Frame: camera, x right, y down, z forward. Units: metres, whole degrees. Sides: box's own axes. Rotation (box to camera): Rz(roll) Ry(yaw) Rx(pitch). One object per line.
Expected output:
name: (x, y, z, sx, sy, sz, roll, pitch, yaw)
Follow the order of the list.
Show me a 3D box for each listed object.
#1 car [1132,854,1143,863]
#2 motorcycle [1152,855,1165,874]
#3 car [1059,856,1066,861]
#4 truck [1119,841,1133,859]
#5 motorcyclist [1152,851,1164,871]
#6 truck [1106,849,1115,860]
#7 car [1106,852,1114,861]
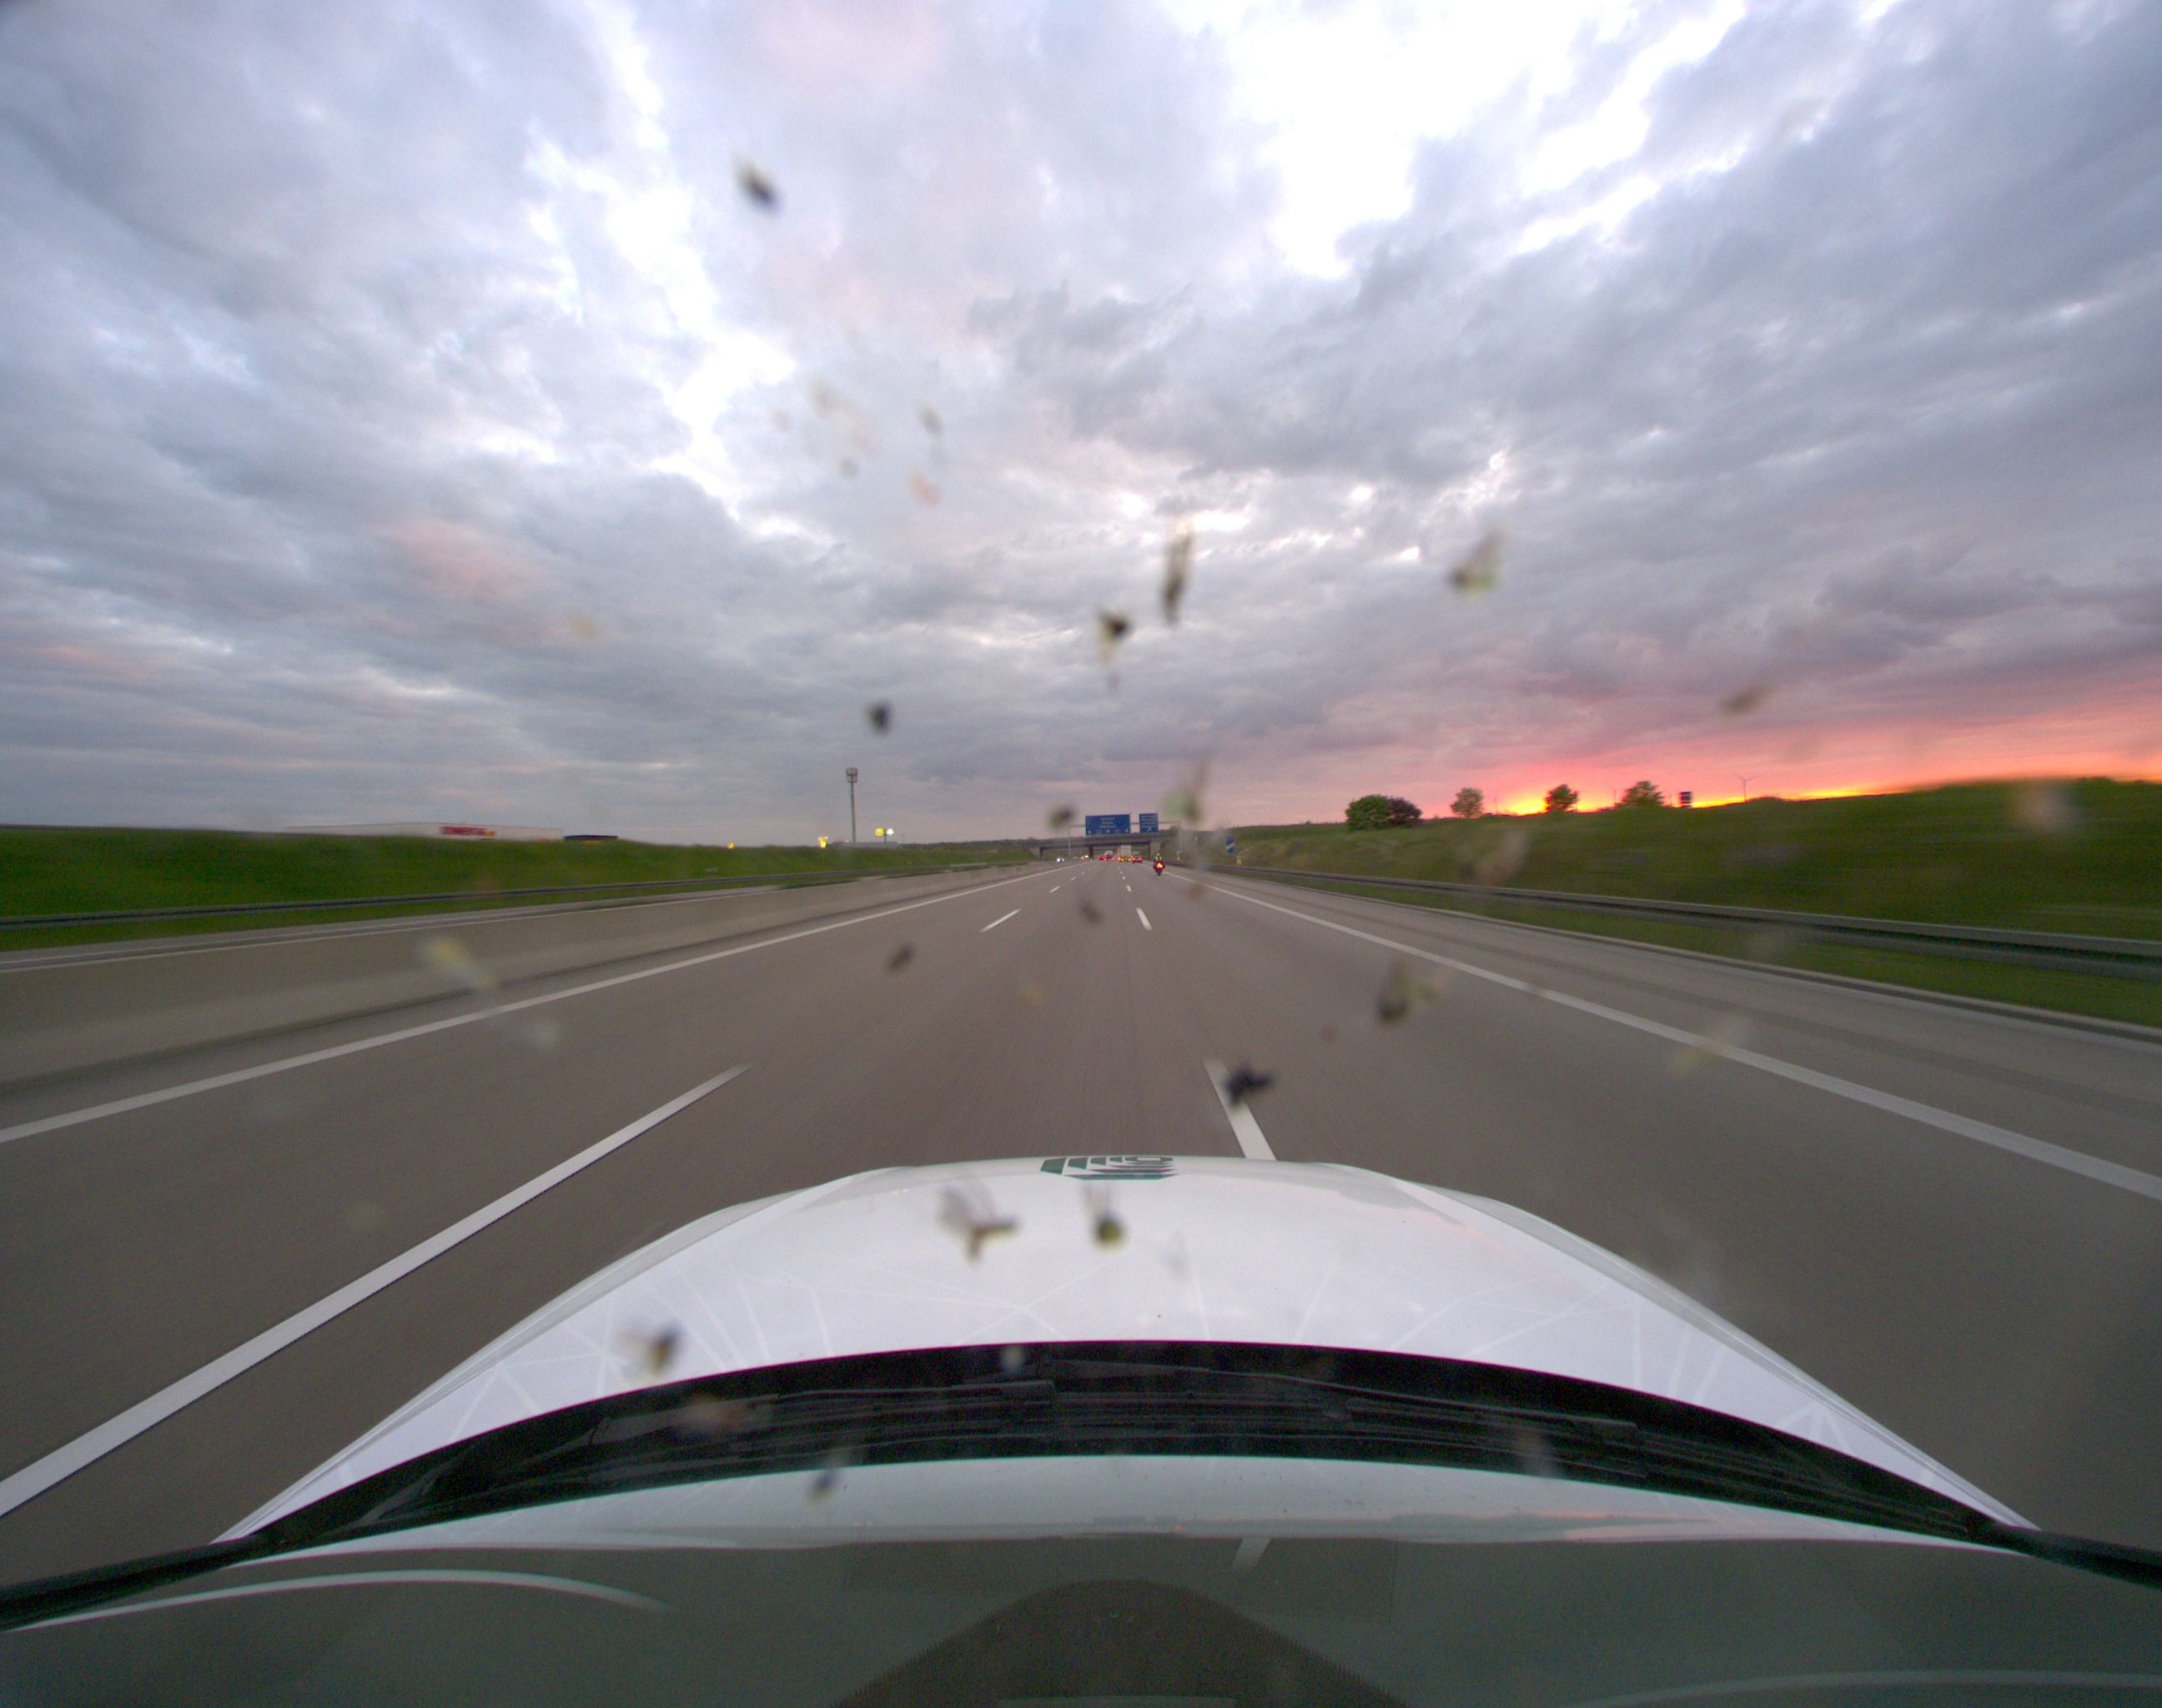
car: (10.977, 0.910, 157.819, 1.911, 1.579, 4.001, -2, 0, 1)
motorcycle: (5.899, 0.793, 62.084, 0.898, 1.346, 2.350, -1, 1, 3)
car: (-5.735, 1.488, 253.551, 1.996, 1.587, 4.573, -2, 0, 1)
truck: (11.028, -1.069, 199.475, 3.221, 4.227, 9.605, 0, 0, 3)
motorcyclist: (5.866, 0.537, 61.793, 0.862, 1.487, 1.169, 0, 0, 4)
truck: (9.382, 0.135, 258.761, 2.941, 3.217, 8.409, 0, 0, 2)
car: (8.616, 0.776, 242.801, 2.507, 2.391, 6.498, -2, 0, 1)
